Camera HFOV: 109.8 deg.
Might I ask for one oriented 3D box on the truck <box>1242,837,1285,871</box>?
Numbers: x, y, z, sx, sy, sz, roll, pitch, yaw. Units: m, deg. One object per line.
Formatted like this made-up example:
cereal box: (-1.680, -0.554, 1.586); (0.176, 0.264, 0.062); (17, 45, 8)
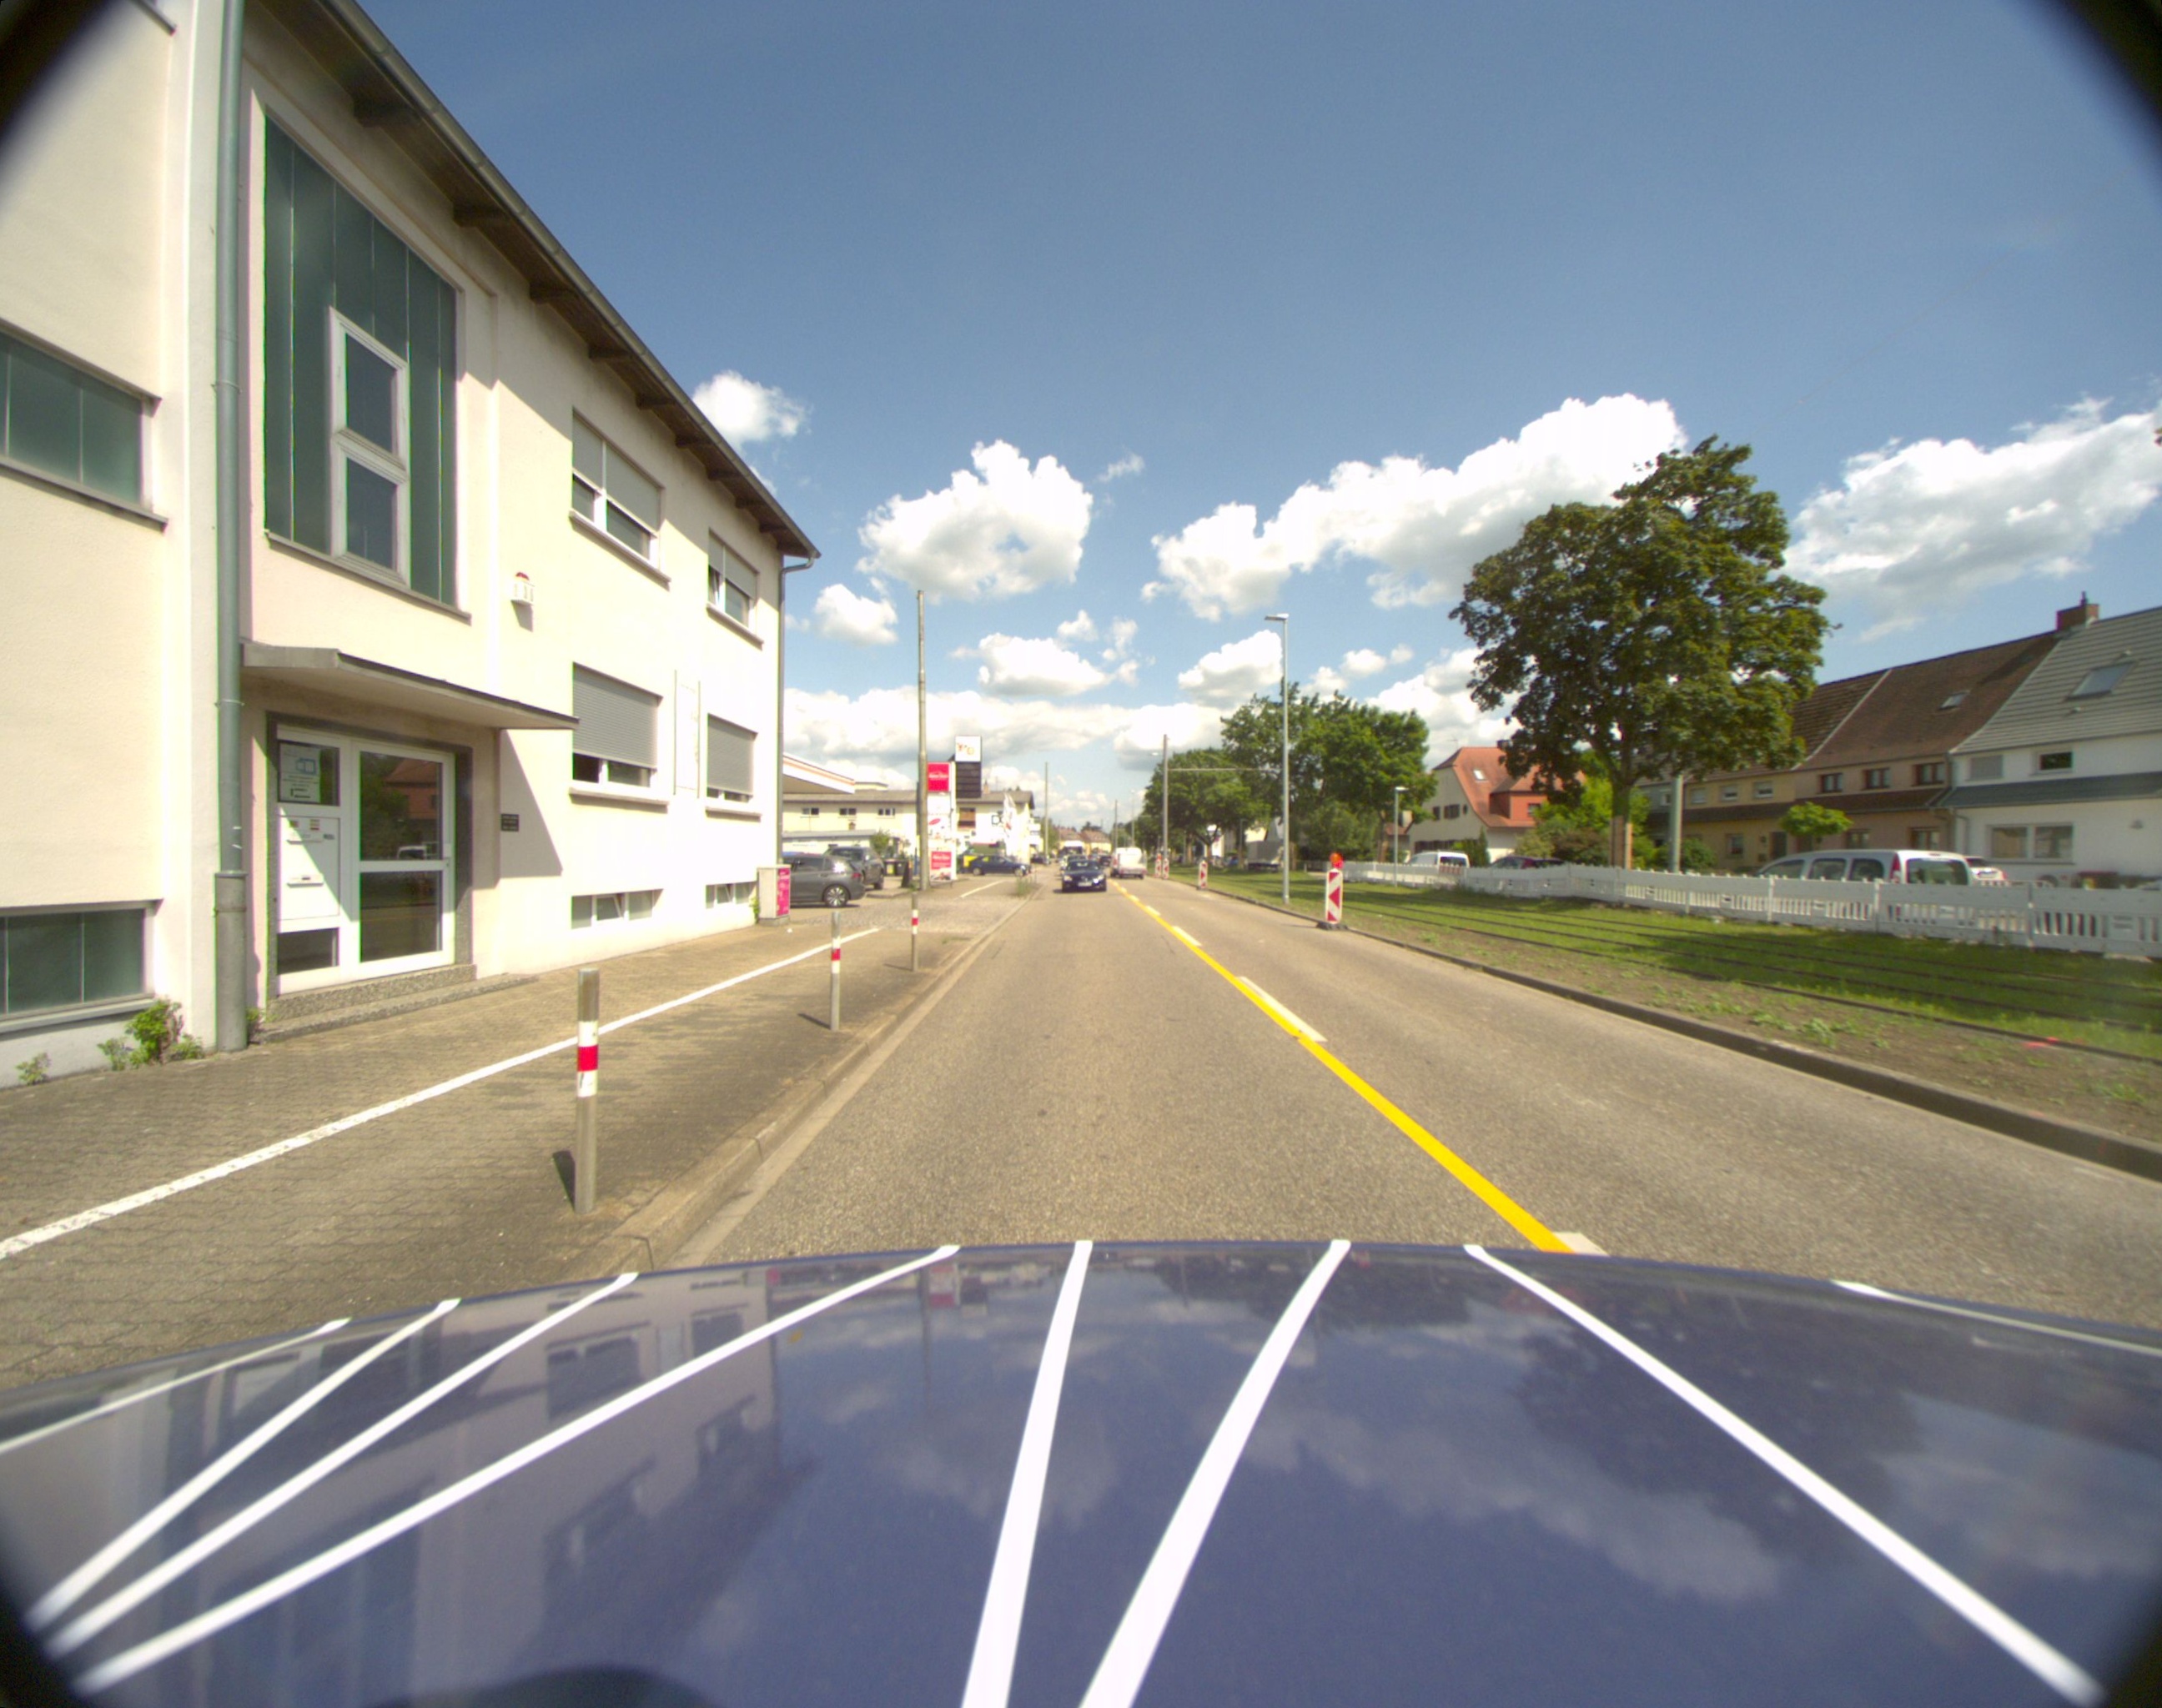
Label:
truck: (16.054, -0.070, 67.266); (2.371, 2.789, 5.950); (-2, 1, 0)

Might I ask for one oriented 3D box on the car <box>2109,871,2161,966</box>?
car: (16.302, 0.944, 9.977); (1.353, 1.369, 3.114); (1, 0, 0)

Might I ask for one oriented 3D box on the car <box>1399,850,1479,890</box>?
car: (16.087, 0.667, 34.374); (1.657, 1.616, 4.000); (1, 1, 0)

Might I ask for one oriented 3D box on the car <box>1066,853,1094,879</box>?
car: (-0.042, 0.694, 46.038); (1.594, 1.418, 3.706); (-2, 1, 0)

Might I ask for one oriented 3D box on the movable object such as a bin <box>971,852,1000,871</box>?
movable object such as a bin: (-7.181, 0.559, 57.214); (1.968, 1.339, 1.708); (-2, 1, -1)

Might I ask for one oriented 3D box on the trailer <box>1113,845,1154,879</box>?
trailer: (3.119, 0.442, 46.414); (2.067, 1.825, 5.484); (2, 1, 0)

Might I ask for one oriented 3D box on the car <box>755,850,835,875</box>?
car: (-17.310, 0.512, 46.116); (4.145, 1.416, 1.771); (1, 1, 1)

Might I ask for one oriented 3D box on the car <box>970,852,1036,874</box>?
car: (-5.151, 0.610, 50.493); (4.061, 1.400, 1.647); (0, 1, 6)

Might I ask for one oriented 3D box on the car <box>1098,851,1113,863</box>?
car: (3.426, 0.391, 107.417); (1.829, 1.656, 4.461); (1, 1, 0)

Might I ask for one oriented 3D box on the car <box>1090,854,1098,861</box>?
car: (2.758, 0.717, 164.985); (1.582, 1.461, 3.719); (2, 1, 0)

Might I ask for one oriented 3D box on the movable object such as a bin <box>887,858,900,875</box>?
movable object such as a bin: (-11.818, 0.787, 47.864); (0.582, 1.004, 0.706); (-2, 1, -1)

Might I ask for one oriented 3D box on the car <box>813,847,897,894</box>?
car: (-8.451, 0.544, 28.795); (1.951, 1.615, 4.614); (1, 1, -2)

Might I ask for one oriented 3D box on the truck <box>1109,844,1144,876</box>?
truck: (2.942, 0.365, 50.223); (1.825, 1.899, 5.114); (2, 1, -1)

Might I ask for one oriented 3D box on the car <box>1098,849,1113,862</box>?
car: (2.982, 0.170, 93.192); (1.697, 1.404, 3.858); (2, 1, -1)

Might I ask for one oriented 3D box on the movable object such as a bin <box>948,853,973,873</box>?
movable object such as a bin: (-8.976, 0.653, 56.701); (1.536, 1.402, 1.765); (-2, 1, -1)

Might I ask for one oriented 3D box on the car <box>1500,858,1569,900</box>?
car: (15.975, 0.839, 26.875); (1.075, 1.340, 2.449); (1, 1, 4)

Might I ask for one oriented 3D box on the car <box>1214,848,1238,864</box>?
car: (14.848, 0.169, 77.943); (1.672, 1.504, 3.930); (-2, 1, 0)

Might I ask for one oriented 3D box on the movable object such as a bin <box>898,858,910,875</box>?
movable object such as a bin: (-11.161, 0.774, 47.896); (0.582, 1.004, 0.706); (-2, 1, -1)

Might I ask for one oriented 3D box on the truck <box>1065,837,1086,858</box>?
truck: (-0.714, -0.948, 107.876); (2.632, 2.872, 7.922); (-2, 1, 1)

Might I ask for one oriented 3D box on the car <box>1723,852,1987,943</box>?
car: (16.326, 0.826, 16.358); (1.627, 1.642, 3.898); (1, 1, 0)

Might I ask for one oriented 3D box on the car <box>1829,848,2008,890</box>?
car: (28.441, 0.459, 26.032); (1.538, 1.268, 4.119); (1, 1, 0)

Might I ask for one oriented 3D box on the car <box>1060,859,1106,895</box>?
car: (0.086, 0.895, 31.252); (1.732, 1.259, 3.999); (-2, 1, 0)

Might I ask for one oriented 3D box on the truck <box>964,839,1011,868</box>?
truck: (-9.103, -0.087, 74.028); (4.181, 2.645, 2.108); (-2, 1, 1)

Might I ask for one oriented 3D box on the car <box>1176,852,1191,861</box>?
car: (15.807, 0.356, 117.435); (1.637, 1.294, 3.999); (-2, 1, 0)

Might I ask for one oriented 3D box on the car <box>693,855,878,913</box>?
car: (-7.702, 0.773, 20.159); (4.385, 1.409, 1.741); (1, -1, -19)
